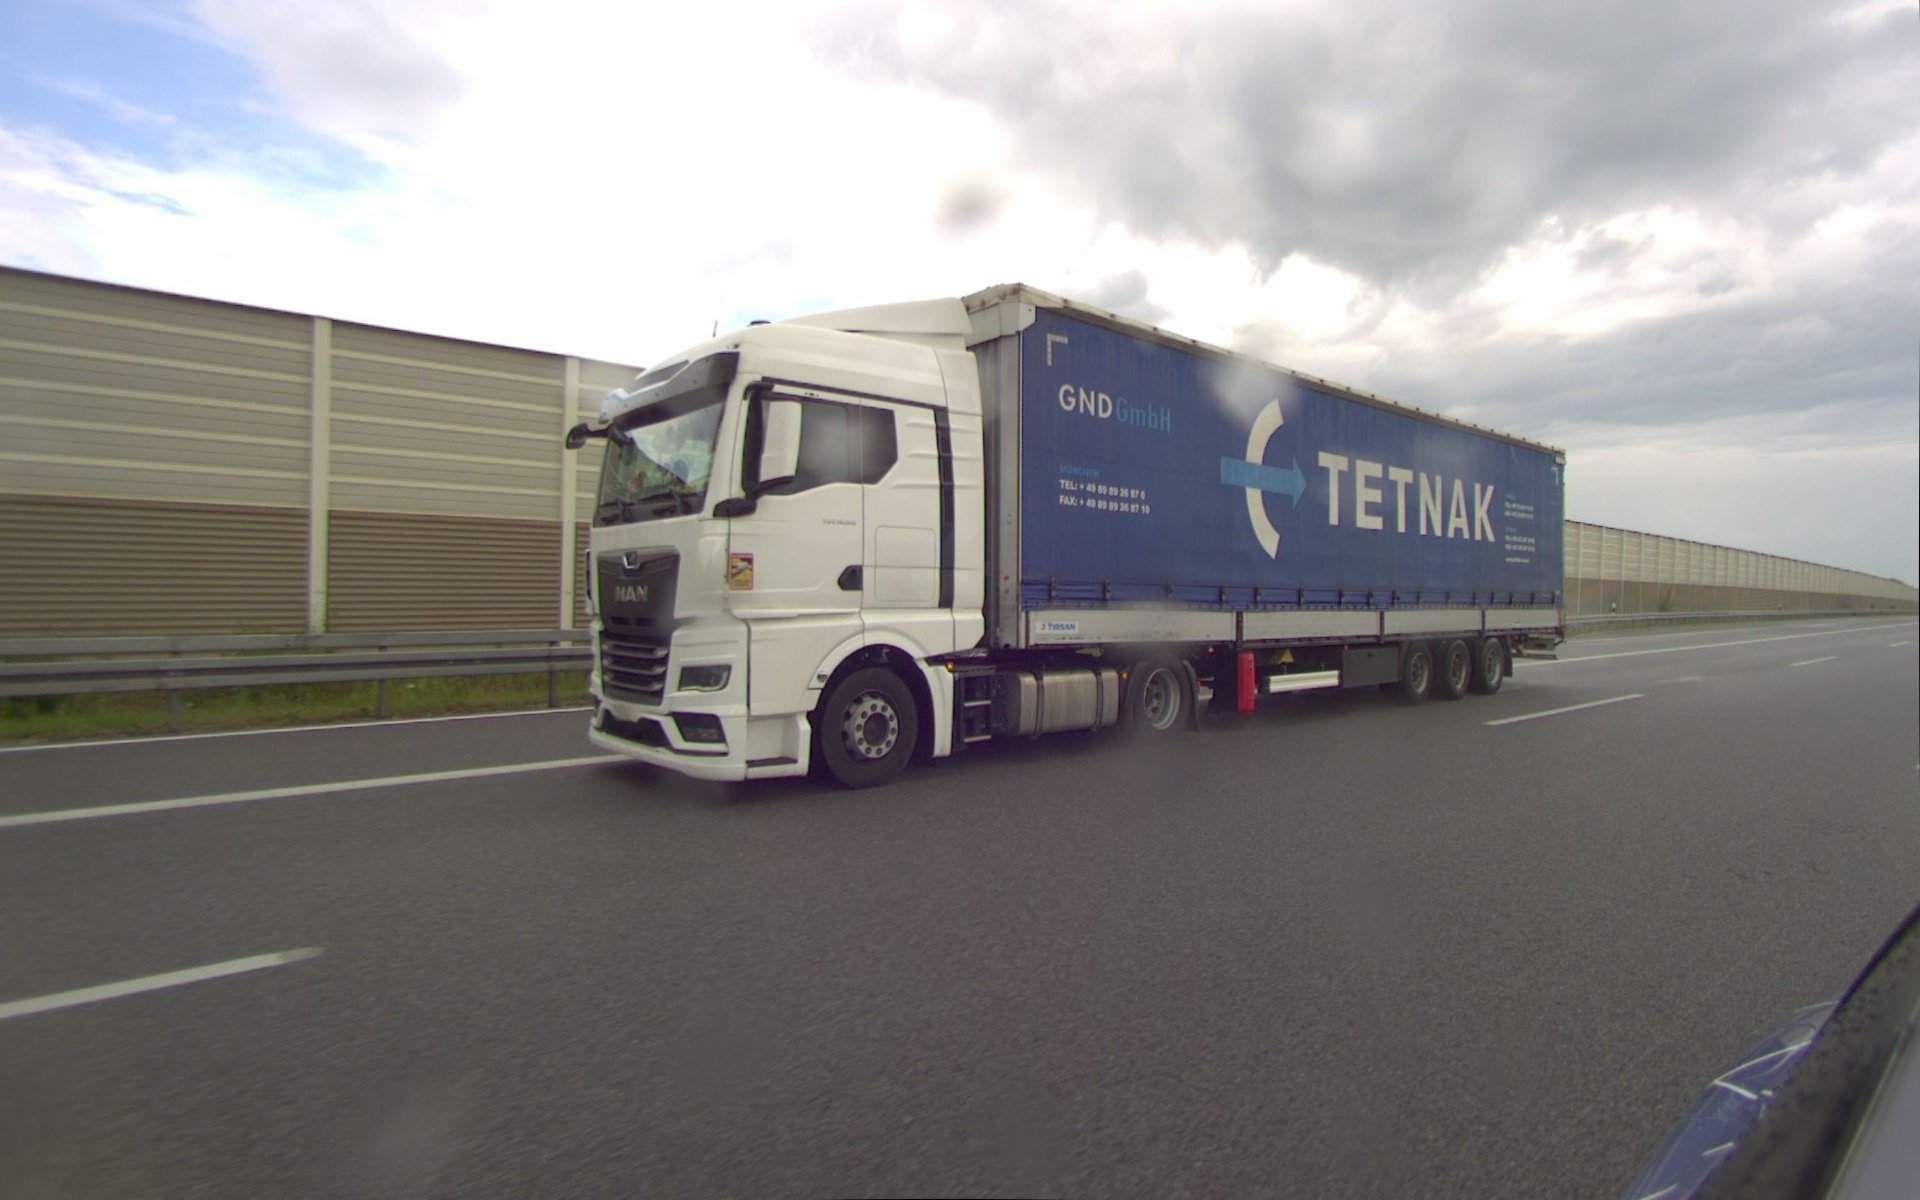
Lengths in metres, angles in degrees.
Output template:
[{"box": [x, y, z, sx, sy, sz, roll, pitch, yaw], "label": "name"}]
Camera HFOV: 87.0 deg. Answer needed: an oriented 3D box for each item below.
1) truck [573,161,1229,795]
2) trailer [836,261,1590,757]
[{"box": [-0.271, -0.810, 9.442, 5.627, 4.085, 2.749, 0, 0, -42], "label": "truck"}, {"box": [4.921, -0.769, 14.141, 14.204, 4.082, 2.765, 0, 1, -42], "label": "trailer"}]
